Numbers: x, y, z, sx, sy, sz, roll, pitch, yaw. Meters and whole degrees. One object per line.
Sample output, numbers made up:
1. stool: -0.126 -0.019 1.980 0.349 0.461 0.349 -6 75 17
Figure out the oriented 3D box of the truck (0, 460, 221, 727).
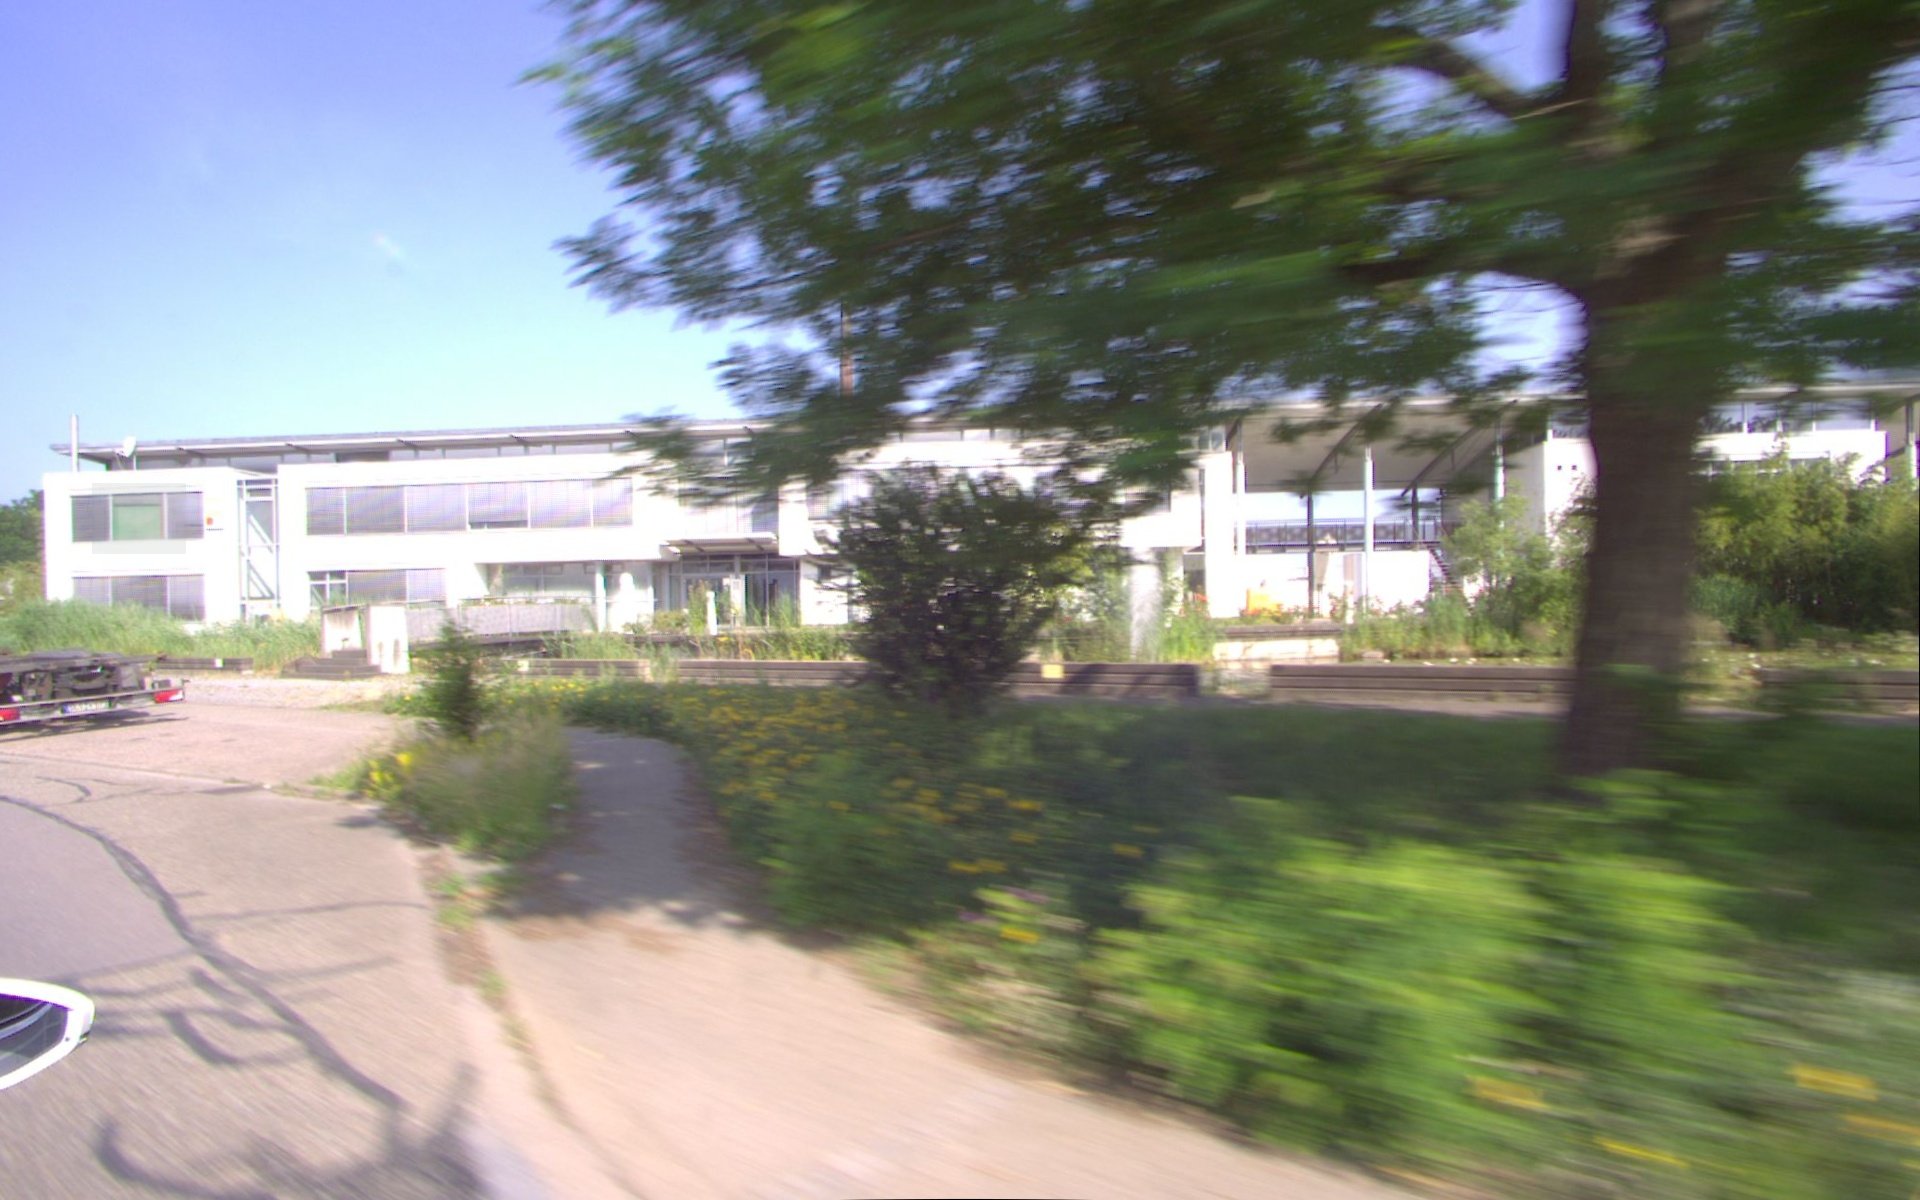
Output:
1. truck: -16.569 0.016 16.675 9.608 3.584 2.883 -2 3 29
